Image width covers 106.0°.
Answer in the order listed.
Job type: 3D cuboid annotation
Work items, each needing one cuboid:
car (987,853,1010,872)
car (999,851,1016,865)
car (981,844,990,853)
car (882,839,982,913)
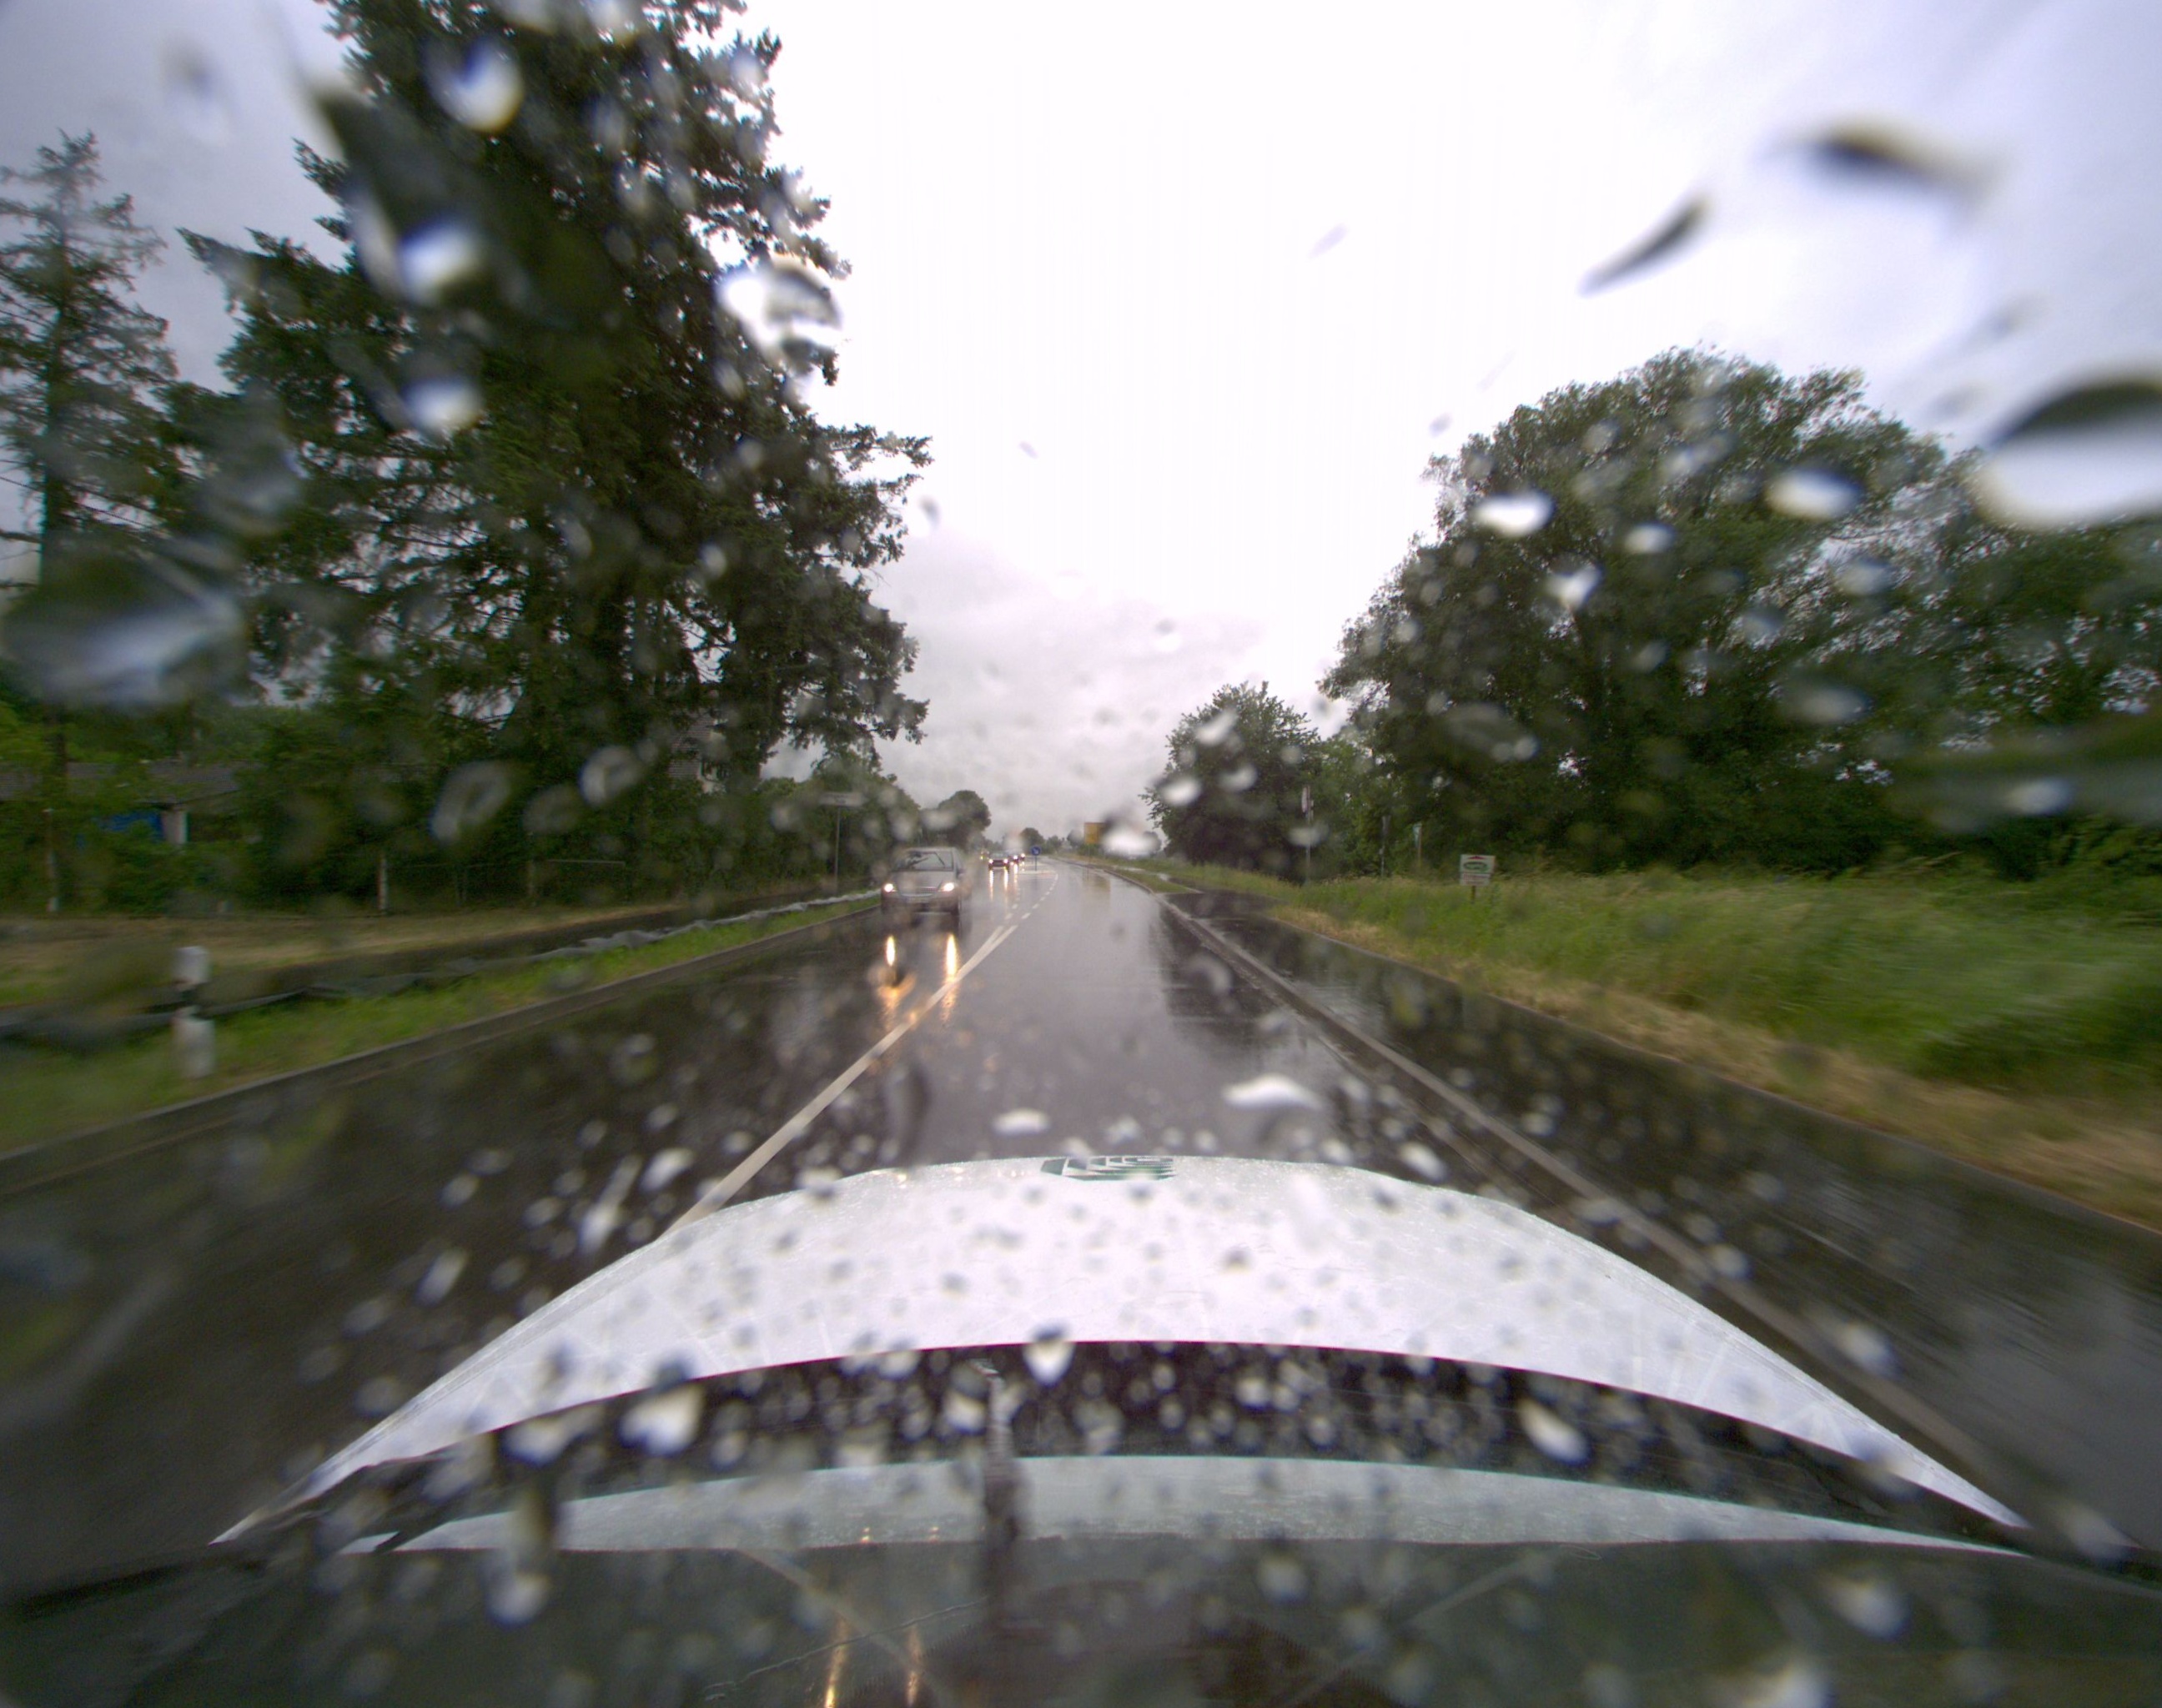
[{"bbox_3d":[-6.527,0.629,64.480,1.680,1.382,4.216,-1,1,-6],"label":"car"},{"bbox_3d":[-7.992,0.455,88.940,1.739,1.445,3.674,-1,1,-7],"label":"car"},{"bbox_3d":[-23.480,-1.287,200.565,1.991,1.972,4.946,3,1,-7],"label":"car"},{"bbox_3d":[-3.492,0.467,19.739,1.756,1.552,3.997,-2,0,-2],"label":"car"}]
